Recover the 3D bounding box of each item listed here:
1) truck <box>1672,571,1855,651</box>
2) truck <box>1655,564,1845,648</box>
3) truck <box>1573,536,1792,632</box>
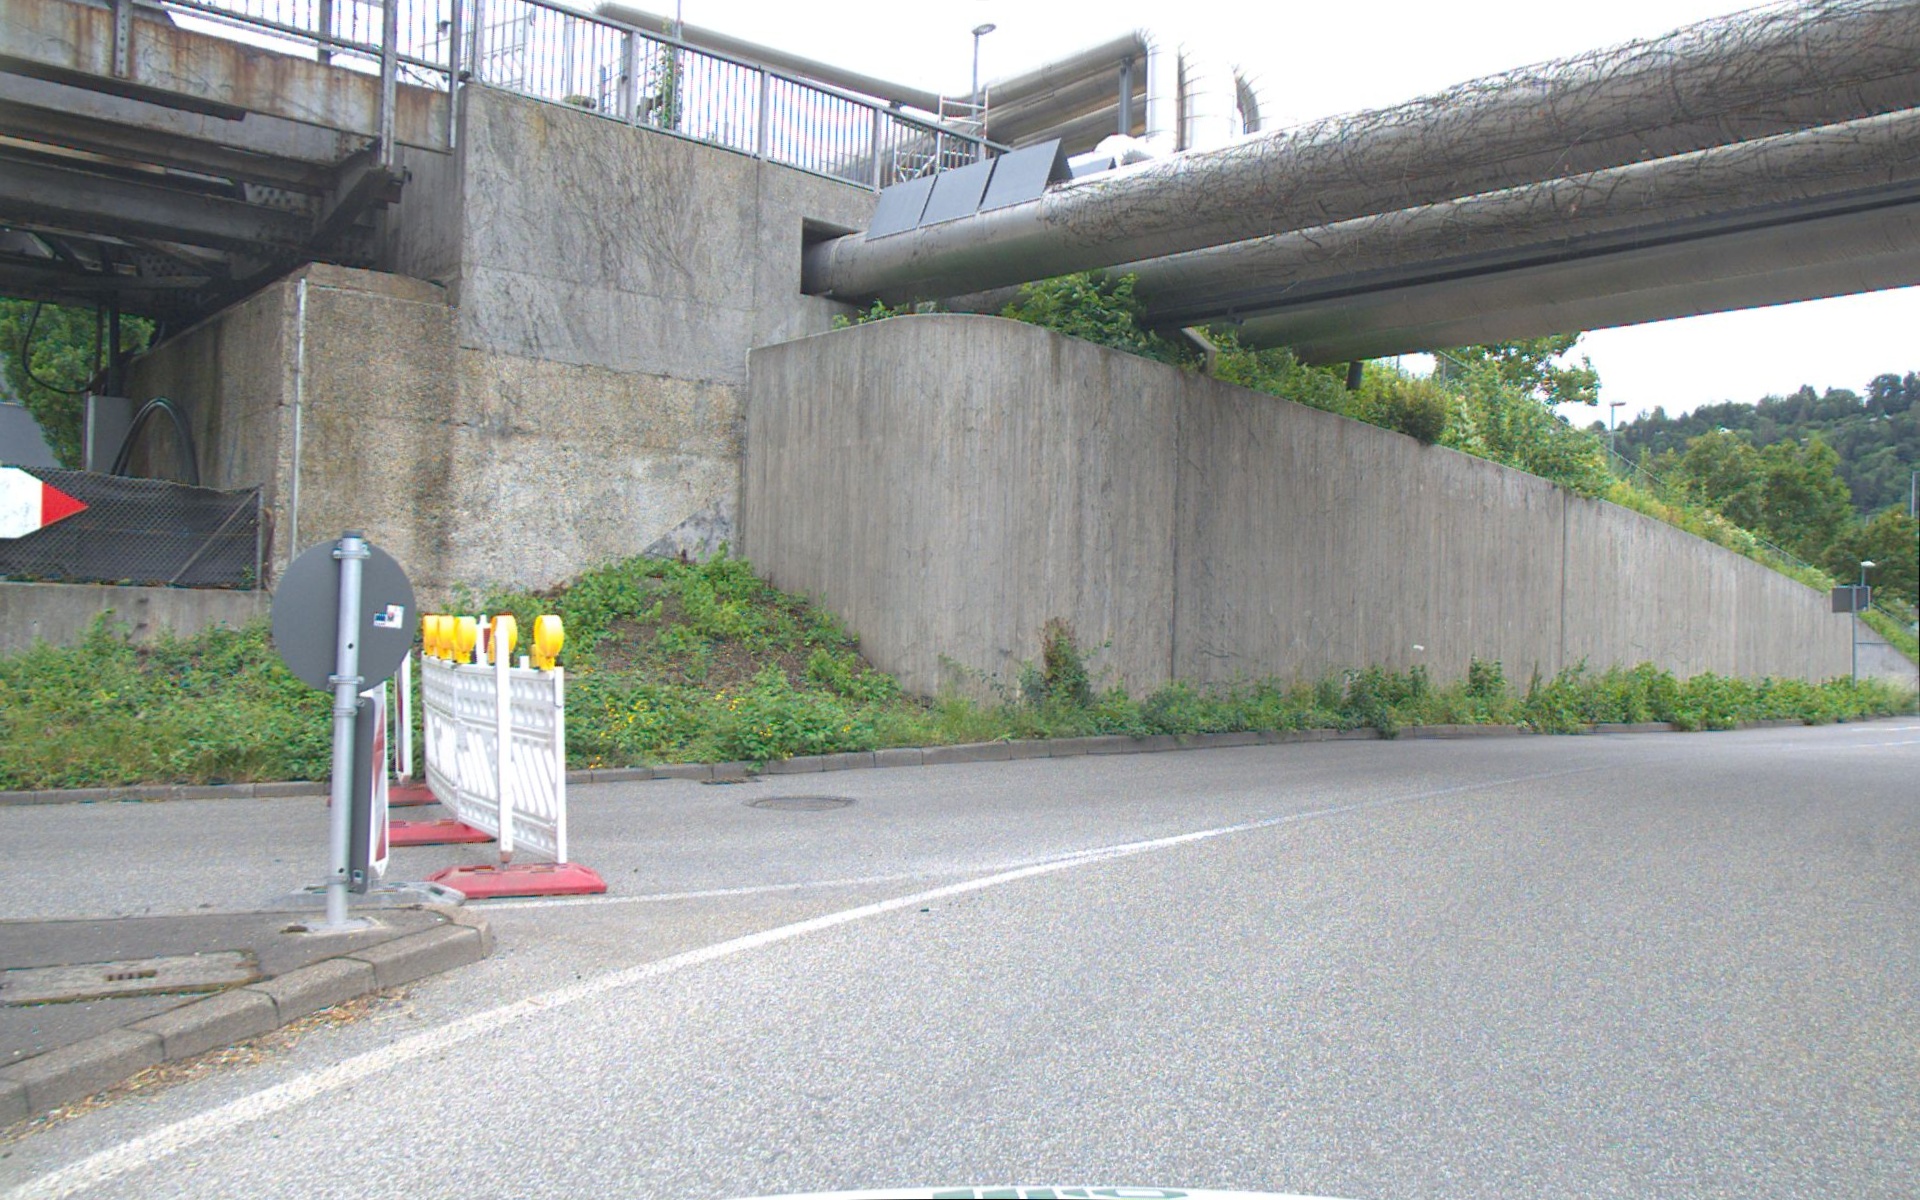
[{"bbox_3d":[40.219,0.565,83.040,7.674,3.601,3.054,2,-3,9],"label":"truck"},{"bbox_3d":[37.712,0.319,79.255,7.674,3.601,3.054,2,-3,12],"label":"truck"},{"bbox_3d":[30.639,-0.639,70.389,7.956,3.601,3.054,2,-3,7],"label":"truck"}]
